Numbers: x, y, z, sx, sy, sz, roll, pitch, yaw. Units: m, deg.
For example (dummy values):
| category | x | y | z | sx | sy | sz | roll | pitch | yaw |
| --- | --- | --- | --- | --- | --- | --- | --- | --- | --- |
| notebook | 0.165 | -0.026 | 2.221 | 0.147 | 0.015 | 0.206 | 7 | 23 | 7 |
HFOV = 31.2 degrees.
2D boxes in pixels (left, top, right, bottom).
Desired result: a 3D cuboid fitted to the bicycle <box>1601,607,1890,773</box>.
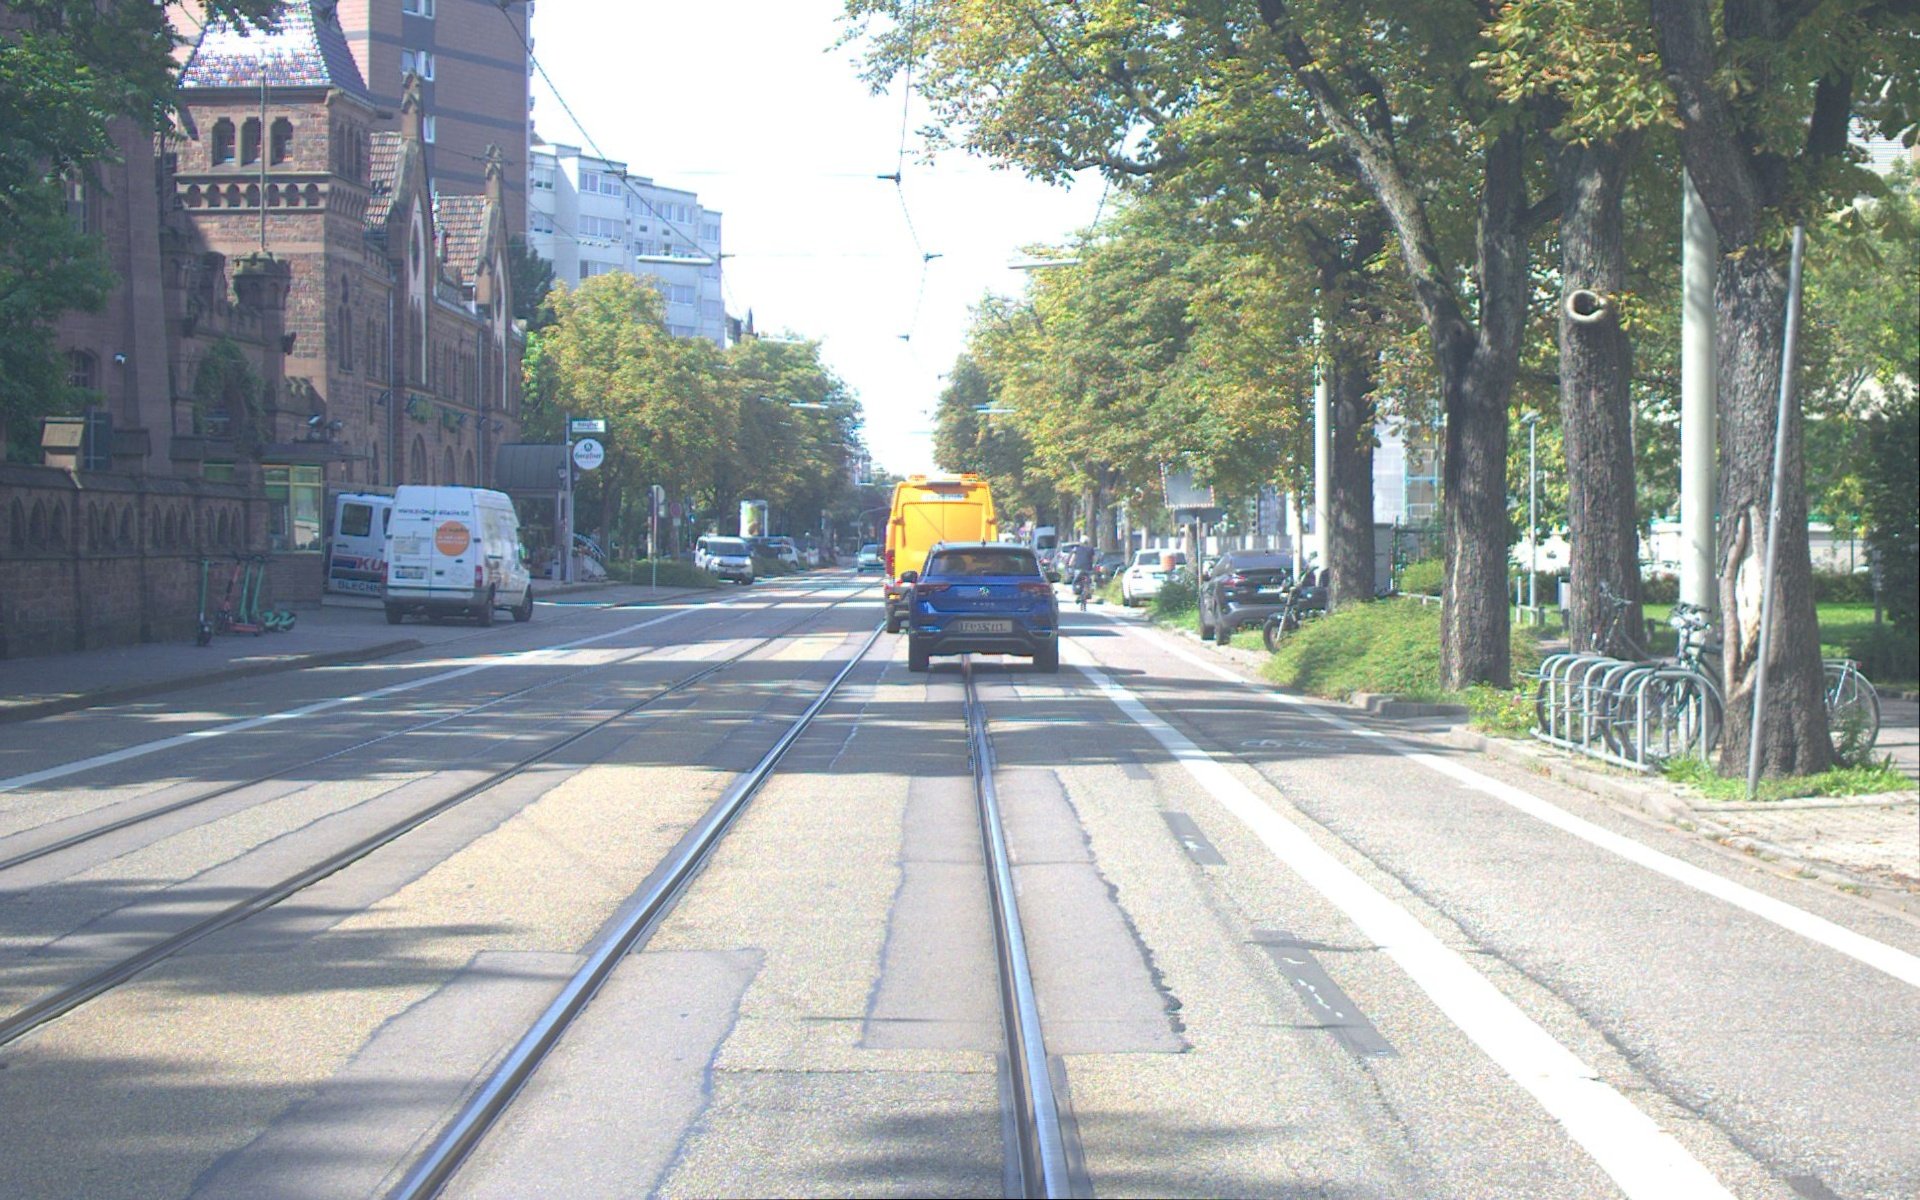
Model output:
| category | x | y | z | sx | sy | sz | roll | pitch | yaw |
| --- | --- | --- | --- | --- | --- | --- | --- | --- | --- |
| bicycle | 5.161 | 0.586 | 22.635 | 1.771 | 1.046 | 0.541 | -1 | 1 | -1 |

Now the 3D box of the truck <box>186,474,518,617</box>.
| category | x | y | z | sx | sy | sz | roll | pitch | yaw |
| --- | --- | --- | --- | --- | --- | --- | --- | --- | --- |
| truck | -12.550 | -1.158 | 71.169 | 6.322 | 2.529 | 2.130 | 4 | 2 | 5 |

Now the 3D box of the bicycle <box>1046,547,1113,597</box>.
| category | x | y | z | sx | sy | sz | roll | pitch | yaw |
| --- | --- | --- | --- | --- | --- | --- | --- | --- | --- |
| bicycle | 2.782 | -0.663 | 80.639 | 1.401 | 1.130 | 4.000 | 0 | 1 | 0 |

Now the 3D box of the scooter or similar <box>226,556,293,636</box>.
| category | x | y | z | sx | sy | sz | roll | pitch | yaw |
| --- | --- | --- | --- | --- | --- | --- | --- | --- | --- |
| scooter or similar | -10.520 | -0.065 | 51.625 | 0.340 | 1.174 | 1.176 | 1 | 1 | 25 |

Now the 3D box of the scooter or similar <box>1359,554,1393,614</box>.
| category | x | y | z | sx | sy | sz | roll | pitch | yaw |
| --- | --- | --- | --- | --- | --- | --- | --- | --- | --- |
| scooter or similar | 8.791 | -0.347 | 72.709 | 0.556 | 1.255 | 1.818 | 1 | 1 | 2 |

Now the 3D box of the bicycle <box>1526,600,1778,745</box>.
| category | x | y | z | sx | sy | sz | roll | pitch | yaw |
| --- | --- | --- | --- | --- | --- | --- | --- | --- | --- |
| bicycle | 5.180 | 0.540 | 25.793 | 1.771 | 1.046 | 0.541 | -1 | 1 | -1 |

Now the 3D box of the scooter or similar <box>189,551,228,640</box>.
| category | x | y | z | sx | sy | sz | roll | pitch | yaw |
| --- | --- | --- | --- | --- | --- | --- | --- | --- | --- |
| scooter or similar | -10.090 | -0.070 | 46.148 | 0.420 | 1.174 | 1.317 | 1 | 1 | -16 |

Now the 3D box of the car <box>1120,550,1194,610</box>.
| category | x | y | z | sx | sy | sz | roll | pitch | yaw |
| --- | --- | --- | --- | --- | --- | --- | --- | --- | --- |
| car | 5.004 | -0.520 | 87.809 | 1.659 | 1.476 | 4.217 | 0 | 1 | 0 |

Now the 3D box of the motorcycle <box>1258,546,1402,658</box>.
| category | x | y | z | sx | sy | sz | roll | pitch | yaw |
| --- | --- | --- | --- | --- | --- | --- | --- | --- | --- |
| motorcycle | 5.141 | 0.009 | 47.962 | 0.850 | 1.510 | 2.456 | 0 | 1 | -24 |

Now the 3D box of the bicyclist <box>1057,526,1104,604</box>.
| category | x | y | z | sx | sy | sz | roll | pitch | yaw |
| --- | --- | --- | --- | --- | --- | --- | --- | --- | --- |
| bicyclist | 2.820 | -0.816 | 80.630 | 1.031 | 1.806 | 1.016 | 1 | 1 | 0 |

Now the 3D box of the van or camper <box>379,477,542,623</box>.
| category | x | y | z | sx | sy | sz | roll | pitch | yaw |
| --- | --- | --- | --- | --- | --- | --- | --- | --- | --- |
| van or camper | -9.562 | -0.958 | 66.304 | 2.113 | 2.666 | 5.955 | 1 | 1 | 1 |

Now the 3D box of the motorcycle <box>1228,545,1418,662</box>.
| category | x | y | z | sx | sy | sz | roll | pitch | yaw |
| --- | --- | --- | --- | --- | --- | --- | --- | --- | --- |
| motorcycle | 4.877 | 0.031 | 46.263 | 2.452 | 1.510 | 0.851 | 1 | 1 | 39 |

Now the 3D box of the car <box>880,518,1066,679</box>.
| category | x | y | z | sx | sy | sz | roll | pitch | yaw |
| --- | --- | --- | --- | --- | --- | --- | --- | --- | --- |
| car | 0.158 | -0.054 | 42.512 | 2.135 | 1.852 | 5.568 | 0 | 1 | 0 |

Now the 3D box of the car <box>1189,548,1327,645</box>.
| category | x | y | z | sx | sy | sz | roll | pitch | yaw |
| --- | --- | --- | --- | --- | --- | --- | --- | --- | --- |
| car | 4.887 | -0.089 | 56.929 | 1.756 | 1.510 | 4.610 | -1 | 1 | -1 |

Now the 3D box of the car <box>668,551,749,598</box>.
| category | x | y | z | sx | sy | sz | roll | pitch | yaw |
| --- | --- | --- | --- | --- | --- | --- | --- | --- | --- |
| car | -9.865 | -1.020 | 134.600 | 1.746 | 1.790 | 4.001 | 1 | 1 | -27 |

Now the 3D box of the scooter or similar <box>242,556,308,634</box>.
| category | x | y | z | sx | sy | sz | roll | pitch | yaw |
| --- | --- | --- | --- | --- | --- | --- | --- | --- | --- |
| scooter or similar | -10.506 | -0.081 | 52.759 | 0.340 | 1.174 | 1.176 | 1 | 1 | 25 |

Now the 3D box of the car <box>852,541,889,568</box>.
| category | x | y | z | sx | sy | sz | roll | pitch | yaw |
| --- | --- | --- | --- | --- | --- | --- | --- | --- | --- |
| car | -4.962 | -2.544 | 191.560 | 1.847 | 1.486 | 4.867 | -1 | 1 | 1 |

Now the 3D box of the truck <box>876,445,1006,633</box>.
| category | x | y | z | sx | sy | sz | roll | pitch | yaw |
| --- | --- | --- | --- | --- | --- | --- | --- | --- | --- |
| truck | -0.305 | -1.054 | 60.128 | 2.135 | 3.113 | 6.085 | 0 | 1 | 0 |

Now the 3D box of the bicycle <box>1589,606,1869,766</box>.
| category | x | y | z | sx | sy | sz | roll | pitch | yaw |
| --- | --- | --- | --- | --- | --- | --- | --- | --- | --- |
| bicycle | 5.204 | 0.577 | 23.313 | 1.771 | 1.046 | 0.541 | -1 | 1 | -1 |

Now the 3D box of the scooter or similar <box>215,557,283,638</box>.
| category | x | y | z | sx | sy | sz | roll | pitch | yaw |
| --- | --- | --- | --- | --- | --- | --- | --- | --- | --- |
| scooter or similar | -10.429 | -0.047 | 50.453 | 0.340 | 1.174 | 1.176 | 1 | 1 | 25 |

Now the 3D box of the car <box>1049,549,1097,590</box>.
| category | x | y | z | sx | sy | sz | roll | pitch | yaw |
| --- | --- | --- | --- | --- | --- | --- | --- | --- | --- |
| car | 4.626 | -1.258 | 140.936 | 1.740 | 1.662 | 4.362 | 1 | 1 | -1 |

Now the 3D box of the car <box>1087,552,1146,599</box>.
| category | x | y | z | sx | sy | sz | roll | pitch | yaw |
| --- | --- | --- | --- | --- | --- | --- | --- | --- | --- |
| car | 4.819 | -0.753 | 106.193 | 1.659 | 1.403 | 4.217 | 0 | 1 | 0 |
